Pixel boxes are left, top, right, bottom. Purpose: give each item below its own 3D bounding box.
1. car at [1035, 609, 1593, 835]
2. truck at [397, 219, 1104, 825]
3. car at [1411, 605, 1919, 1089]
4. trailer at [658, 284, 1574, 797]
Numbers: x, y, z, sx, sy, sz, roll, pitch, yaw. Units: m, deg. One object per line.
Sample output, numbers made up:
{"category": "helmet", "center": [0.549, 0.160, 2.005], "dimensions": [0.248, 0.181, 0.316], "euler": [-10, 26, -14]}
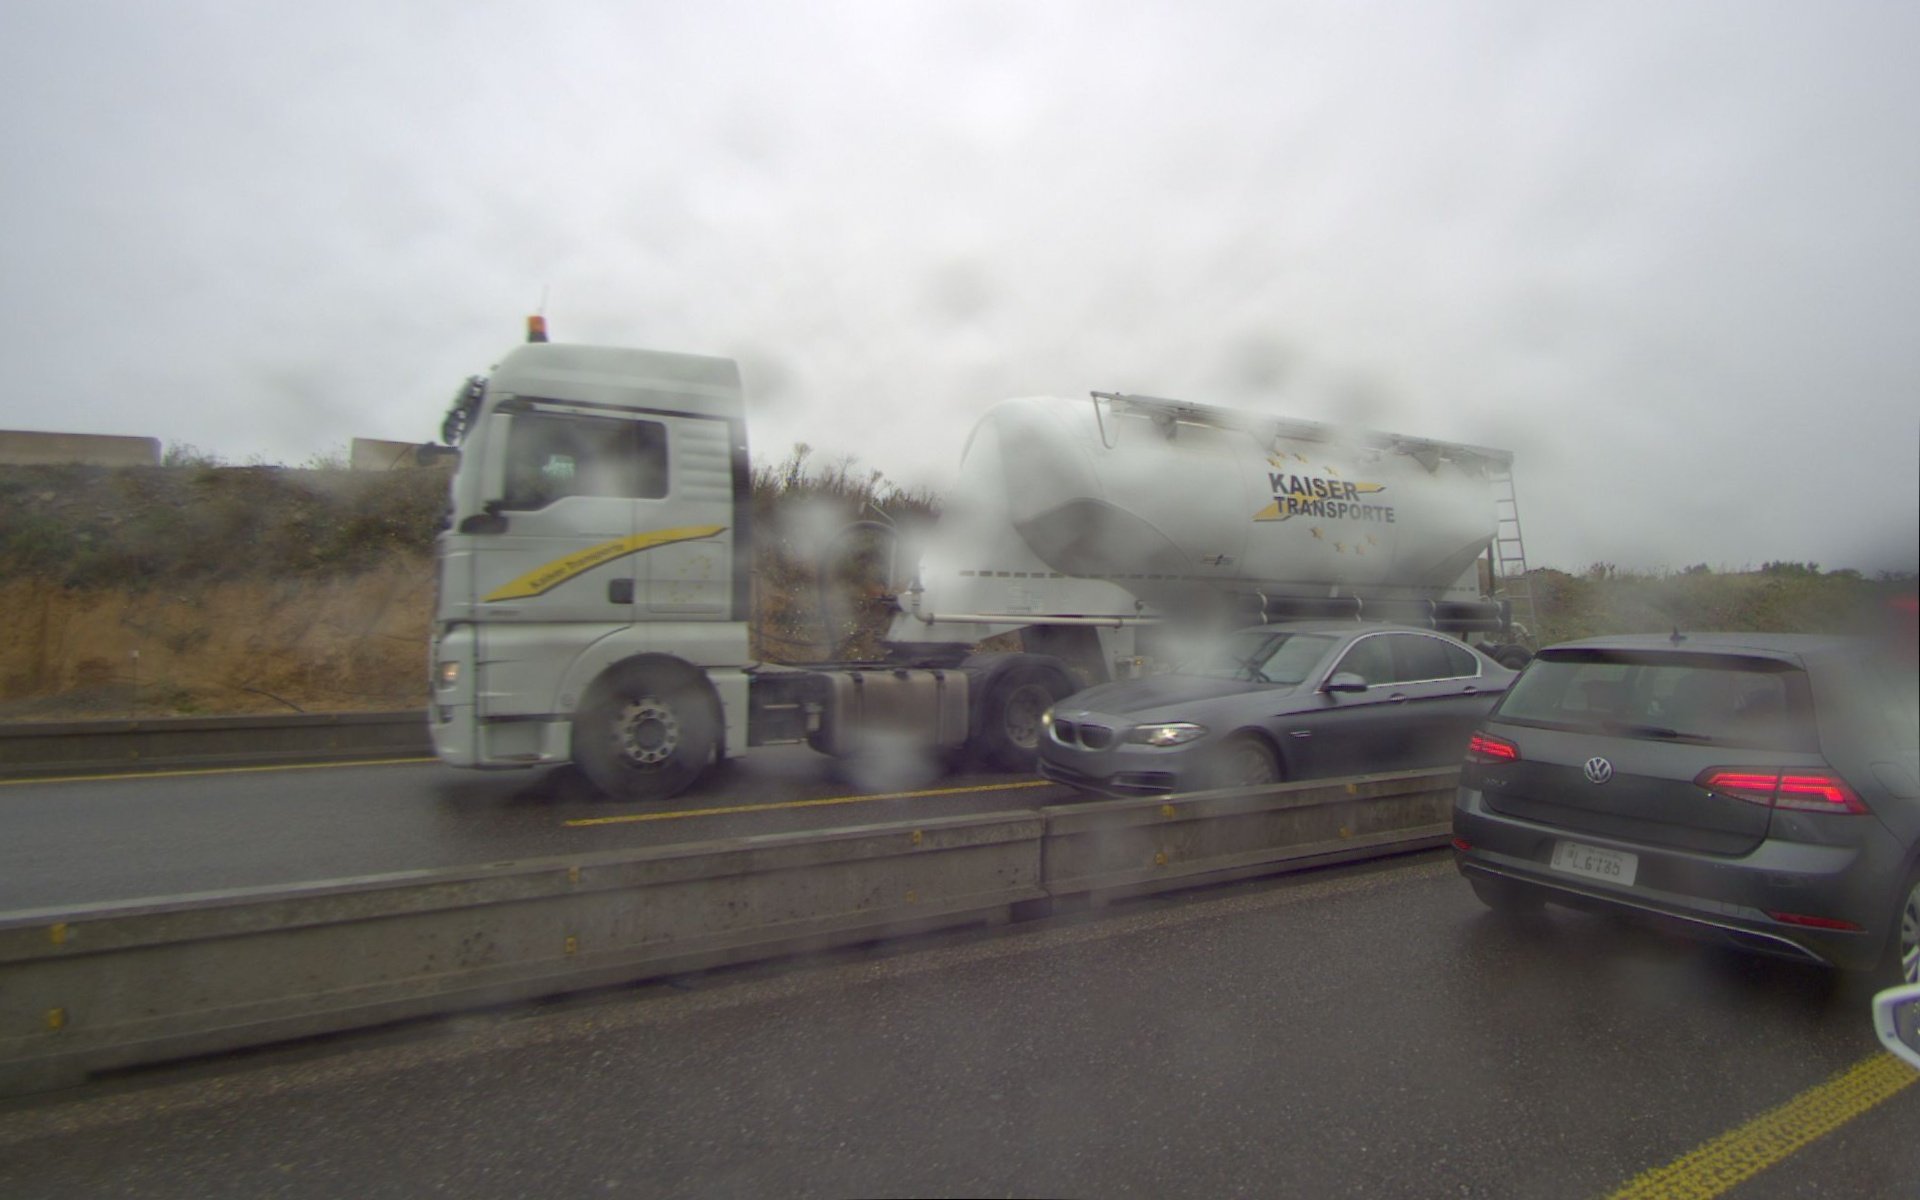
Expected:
{"category": "car", "center": [3.148, 0.890, 8.564], "dimensions": [4.894, 1.458, 1.794], "euler": [2, -3, -31]}
{"category": "truck", "center": [-1.944, -0.424, 9.503], "dimensions": [5.812, 4.008, 3.216], "euler": [2, -1, -30]}
{"category": "car", "center": [4.317, 0.867, 5.003], "dimensions": [4.318, 1.526, 1.606], "euler": [2, -3, -31]}
{"category": "trailer", "center": [2.543, -0.293, 12.110], "dimensions": [11.399, 4.016, 3.241], "euler": [2, -1, -30]}
